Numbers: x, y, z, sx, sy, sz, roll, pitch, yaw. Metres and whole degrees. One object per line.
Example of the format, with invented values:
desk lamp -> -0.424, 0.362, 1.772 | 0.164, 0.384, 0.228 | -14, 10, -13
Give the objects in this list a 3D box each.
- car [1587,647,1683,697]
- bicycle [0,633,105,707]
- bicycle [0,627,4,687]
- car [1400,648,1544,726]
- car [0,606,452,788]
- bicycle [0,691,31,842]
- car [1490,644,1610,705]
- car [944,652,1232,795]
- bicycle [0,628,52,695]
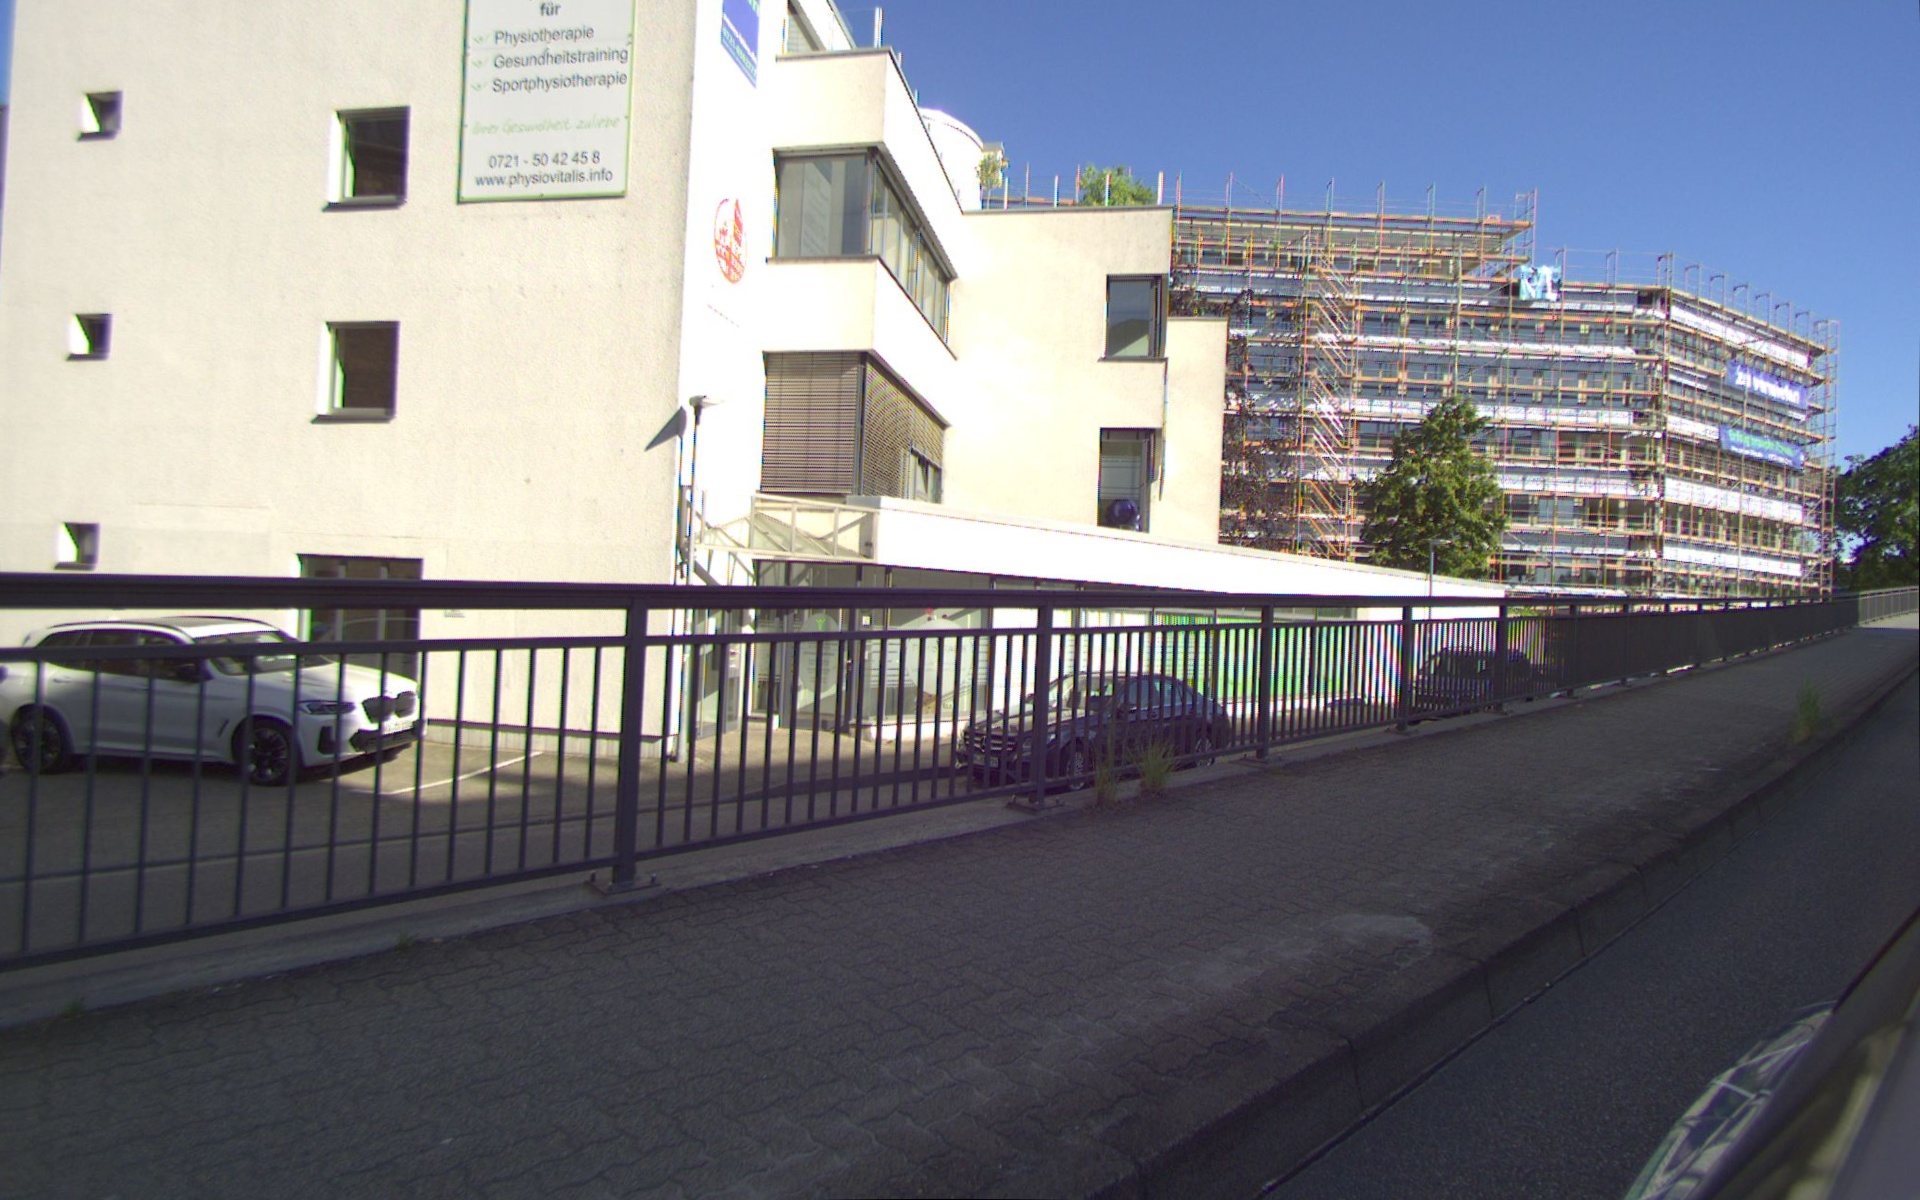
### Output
car -> 21.987, 2.282, 32.908 | 3.932, 1.410, 1.723 | 2, -1, -43
bicycle -> -15.031, 1.112, 16.289 | 0.655, 1.065, 1.916 | 2, 1, 11
bicycle -> -17.430, 1.002, 17.025 | 0.655, 1.065, 1.916 | 2, 1, 11
car -> 11.823, 1.927, 23.268 | 3.932, 1.541, 1.723 | 2, -1, -43
car -> -8.547, 1.015, 11.751 | 4.454, 1.707, 1.840 | 2, 0, 8
bicycle -> -7.720, 1.287, 7.168 | 0.676, 1.155, 1.840 | 1, -1, -5
car -> 15.918, 1.951, 27.226 | 3.932, 1.410, 1.723 | 2, -1, -43
car -> 1.838, 1.542, 13.780 | 3.930, 1.541, 1.724 | 2, -1, -41
bicycle -> -16.510, 1.053, 16.947 | 0.655, 1.065, 1.916 | 2, 1, 11
